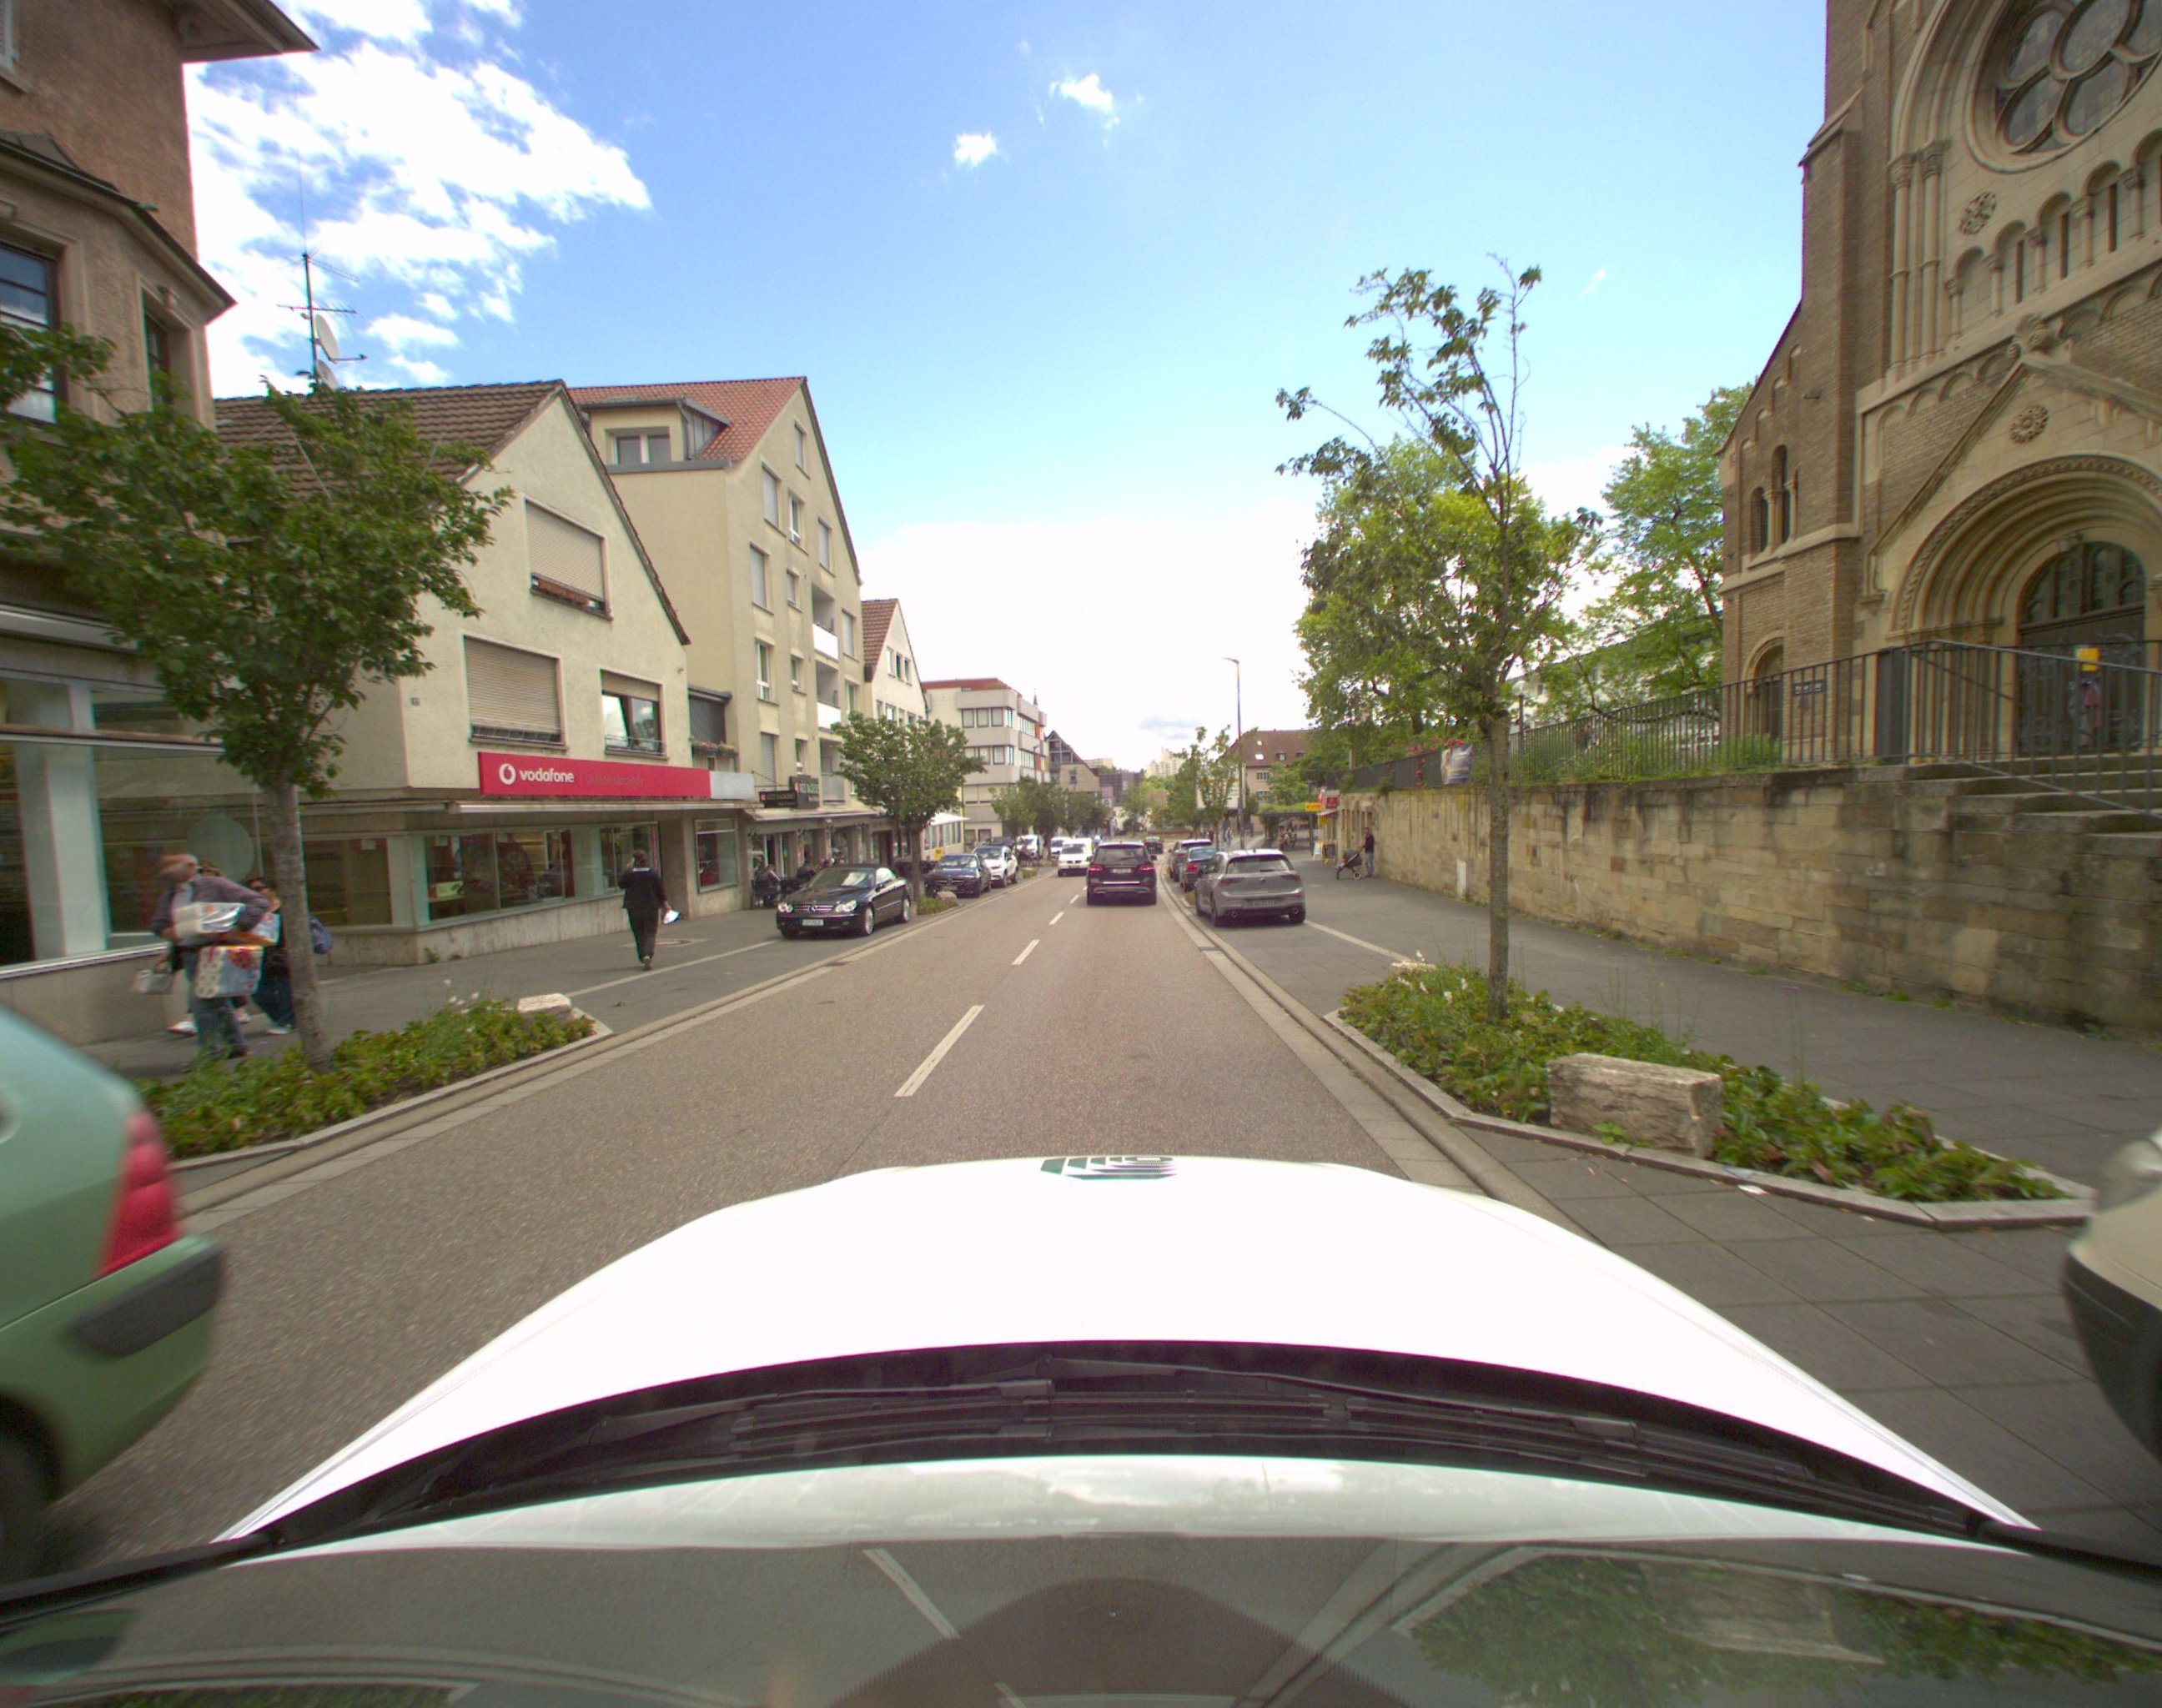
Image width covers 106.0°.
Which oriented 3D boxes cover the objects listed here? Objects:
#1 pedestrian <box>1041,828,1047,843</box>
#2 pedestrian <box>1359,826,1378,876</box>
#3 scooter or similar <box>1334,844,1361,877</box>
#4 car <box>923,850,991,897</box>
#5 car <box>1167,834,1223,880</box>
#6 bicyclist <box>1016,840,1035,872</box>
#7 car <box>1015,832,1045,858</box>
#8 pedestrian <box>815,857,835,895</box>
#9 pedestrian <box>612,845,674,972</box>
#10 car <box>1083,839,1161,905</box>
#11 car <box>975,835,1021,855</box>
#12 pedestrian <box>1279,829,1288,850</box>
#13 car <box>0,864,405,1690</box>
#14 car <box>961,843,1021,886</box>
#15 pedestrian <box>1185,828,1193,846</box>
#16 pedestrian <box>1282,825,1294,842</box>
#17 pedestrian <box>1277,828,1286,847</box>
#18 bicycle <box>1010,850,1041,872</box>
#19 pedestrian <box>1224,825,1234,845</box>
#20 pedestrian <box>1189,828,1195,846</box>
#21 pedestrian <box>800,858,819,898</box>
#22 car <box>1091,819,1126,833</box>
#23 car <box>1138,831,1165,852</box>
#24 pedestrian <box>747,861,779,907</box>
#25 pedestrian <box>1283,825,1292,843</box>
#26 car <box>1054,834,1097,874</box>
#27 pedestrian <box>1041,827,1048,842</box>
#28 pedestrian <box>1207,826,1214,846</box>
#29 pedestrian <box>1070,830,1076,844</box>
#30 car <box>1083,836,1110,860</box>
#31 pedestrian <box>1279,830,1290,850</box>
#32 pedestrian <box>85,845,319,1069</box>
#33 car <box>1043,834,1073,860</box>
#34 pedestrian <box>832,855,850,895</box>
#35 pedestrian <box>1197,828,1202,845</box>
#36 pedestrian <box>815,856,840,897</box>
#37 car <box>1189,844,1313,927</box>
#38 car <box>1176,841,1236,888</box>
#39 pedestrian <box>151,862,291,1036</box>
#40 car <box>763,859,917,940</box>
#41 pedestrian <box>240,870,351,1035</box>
[{"bbox_3d":[-3.869,-1.932,85.487,0.507,1.566,0.588,-3,2,9],"label":"pedestrian"},{"bbox_3d":[9.602,-0.106,27.198,0.469,1.645,0.508,-3,0,14],"label":"pedestrian"},{"bbox_3d":[8.981,0.227,27.459,0.806,1.072,0.562,-3,0,14],"label":"scooter or similar"},{"bbox_3d":[-4.266,0.621,28.589,1.835,1.451,4.512,0,1,-2],"label":"car"},{"bbox_3d":[4.688,0.079,34.047,1.920,1.724,4.578,-2,1,3],"label":"car"},{"bbox_3d":[-3.042,0.105,44.486,0.781,1.694,0.505,-4,2,-32],"label":"bicyclist"},{"bbox_3d":[-3.759,-0.716,60.850,1.749,1.813,4.480,0,2,3],"label":"car"},{"bbox_3d":[-8.628,0.727,27.424,0.425,1.249,0.567,-1,1,3],"label":"pedestrian"},{"bbox_3d":[-6.356,0.763,11.859,0.662,1.761,0.772,-1,0,-21],"label":"pedestrian"},{"bbox_3d":[1.121,0.462,23.646,2.020,1.727,4.434,-1,0,1],"label":"car"},{"bbox_3d":[-6.969,-0.762,68.591,3.614,1.558,1.669,-1,2,1],"label":"car"},{"bbox_3d":[13.752,-0.984,55.282,0.492,1.320,0.577,-2,4,11],"label":"pedestrian"},{"bbox_3d":[-2.902,0.828,0.289,1.675,1.500,4.156,-3,0,2],"label":"car"},{"bbox_3d":[-3.660,0.382,33.680,1.657,1.646,4.140,0,1,5],"label":"car"},{"bbox_3d":[9.360,-1.445,70.469,0.508,1.549,0.490,-2,2,34],"label":"pedestrian"},{"bbox_3d":[16.541,-1.634,65.088,0.761,1.269,0.681,0,3,37],"label":"pedestrian"},{"bbox_3d":[13.978,-1.165,56.771,0.564,1.261,0.543,-2,4,12],"label":"pedestrian"},{"bbox_3d":[-3.030,0.388,44.493,1.660,1.087,0.409,-4,2,-33],"label":"bicycle"},{"bbox_3d":[12.648,-1.618,69.519,0.679,1.682,0.718,-2,2,18],"label":"pedestrian"},{"bbox_3d":[9.969,-1.515,72.976,0.497,1.565,0.499,-3,2,6],"label":"pedestrian"},{"bbox_3d":[-8.643,0.766,25.966,0.393,1.249,0.500,-1,1,3],"label":"pedestrian"},{"bbox_3d":[5.123,-5.293,152.971,6.292,2.560,2.196,0,-1,-14],"label":"car"},{"bbox_3d":[5.944,-1.090,68.916,2.044,1.587,4.377,1,2,3],"label":"car"},{"bbox_3d":[-8.923,0.844,22.873,0.593,1.246,0.599,-1,1,3],"label":"pedestrian"},{"bbox_3d":[15.521,-1.509,61.152,0.619,1.307,0.548,-3,2,12],"label":"pedestrian"},{"bbox_3d":[-0.210,-0.030,40.949,1.739,1.802,4.217,-4,1,4],"label":"car"},{"bbox_3d":[-3.801,-2.010,84.782,0.583,1.566,0.645,-3,2,-2],"label":"pedestrian"},{"bbox_3d":[11.169,-1.573,70.384,0.508,1.680,0.578,-3,2,8],"label":"pedestrian"},{"bbox_3d":[-0.881,-1.943,91.626,0.583,1.588,0.640,0,2,9],"label":"pedestrian"},{"bbox_3d":[1.097,-0.457,56.395,1.599,1.388,3.634,-3,3,4],"label":"car"},{"bbox_3d":[13.673,-0.947,54.706,0.612,1.320,0.588,-2,4,11],"label":"pedestrian"},{"bbox_3d":[-7.054,0.774,6.597,0.867,1.666,0.906,-1,0,0],"label":"pedestrian"},{"bbox_3d":[-1.588,-0.537,58.037,1.649,1.671,4.357,0,2,4],"label":"car"},{"bbox_3d":[-8.034,0.702,27.251,0.419,1.299,0.454,-1,1,3],"label":"pedestrian"},{"bbox_3d":[10.585,-1.565,72.905,0.391,1.565,0.353,-3,2,9],"label":"pedestrian"},{"bbox_3d":[-8.041,0.714,25.879,0.547,1.267,0.599,-1,1,3],"label":"pedestrian"},{"bbox_3d":[3.386,0.565,16.968,1.748,1.441,4.090,-3,0,1],"label":"car"},{"bbox_3d":[4.165,0.329,27.694,1.673,1.417,4.377,-2,0,5],"label":"car"},{"bbox_3d":[-8.221,0.878,7.811,0.611,1.582,0.642,-1,0,0],"label":"pedestrian"},{"bbox_3d":[-4.899,0.852,17.245,1.650,1.392,4.448,-1,0,4],"label":"car"},{"bbox_3d":[-7.403,0.903,7.693,0.494,1.477,0.528,-1,0,0],"label":"pedestrian"}]
